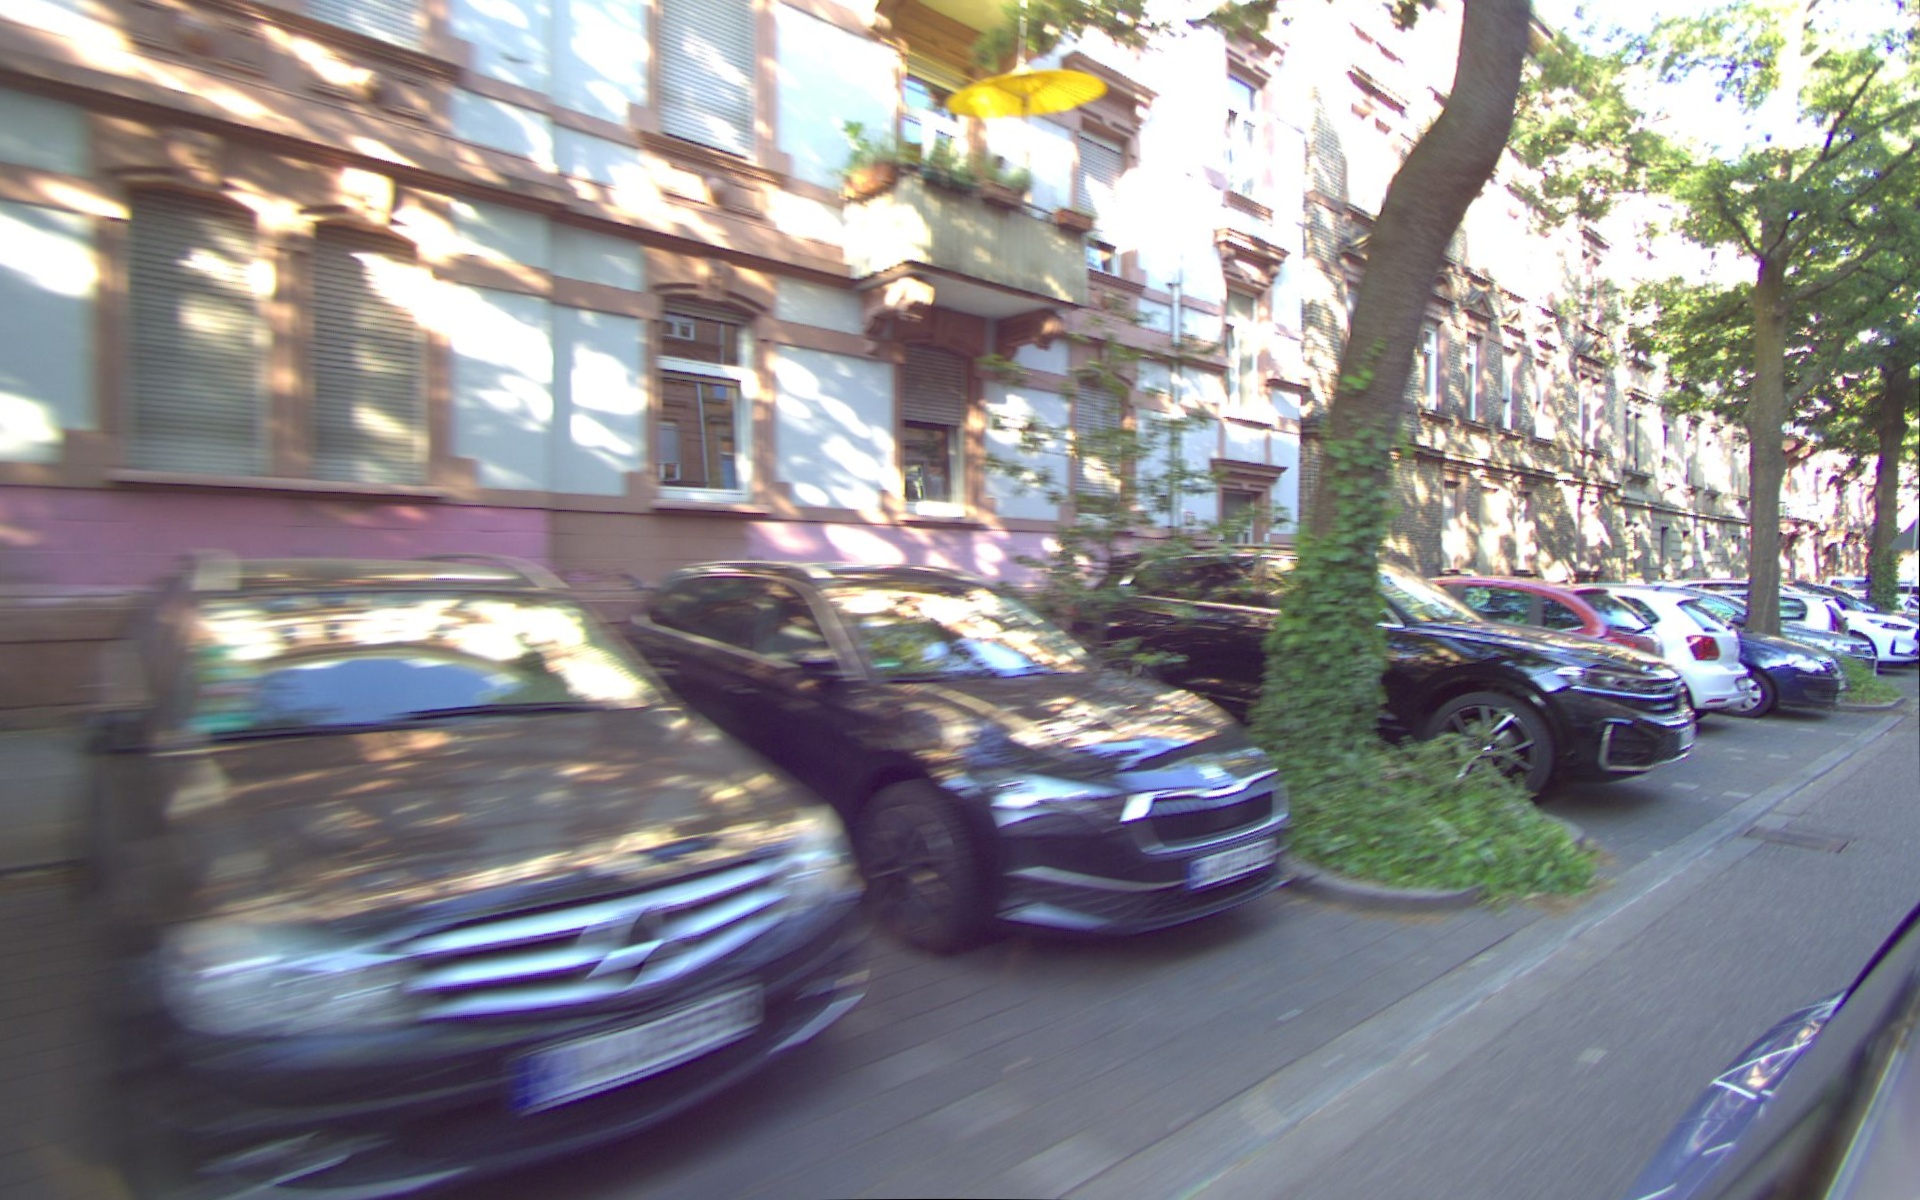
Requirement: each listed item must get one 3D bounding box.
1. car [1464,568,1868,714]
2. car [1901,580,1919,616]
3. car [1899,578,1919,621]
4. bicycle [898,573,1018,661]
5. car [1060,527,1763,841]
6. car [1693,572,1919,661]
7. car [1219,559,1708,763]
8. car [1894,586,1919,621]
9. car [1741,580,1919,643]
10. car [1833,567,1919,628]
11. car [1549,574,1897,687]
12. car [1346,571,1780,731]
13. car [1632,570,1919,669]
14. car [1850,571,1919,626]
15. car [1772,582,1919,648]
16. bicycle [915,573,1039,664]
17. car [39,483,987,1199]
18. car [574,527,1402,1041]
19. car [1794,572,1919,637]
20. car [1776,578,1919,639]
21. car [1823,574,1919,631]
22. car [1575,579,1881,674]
[{"bbox_3d":[9.004,0.396,13.192,1.649,1.404,3.996,0,4,-41],"label":"car"},{"bbox_3d":[45.424,0.060,45.600,1.709,1.607,4.240,0,5,-42],"label":"car"},{"bbox_3d":[44.402,-0.012,44.612,1.750,1.910,4.241,0,1,-39],"label":"car"},{"bbox_3d":[0.001,0.197,12.925,1.673,1.064,0.325,0,1,-38],"label":"bicycle"},{"bbox_3d":[3.174,0.341,7.939,1.851,1.723,4.650,0,3,-44],"label":"car"},{"bbox_3d":[18.318,0.275,21.201,1.858,1.676,4.487,-2,3,-39],"label":"car"},{"bbox_3d":[4.810,0.421,10.077,1.753,1.610,3.991,0,2,-44],"label":"car"},{"bbox_3d":[40.358,0.254,40.248,1.868,1.384,4.470,0,3,-39],"label":"car"},{"bbox_3d":[23.177,0.264,26.605,1.659,1.513,3.991,0,2,-43],"label":"car"},{"bbox_3d":[33.045,-0.026,34.353,2.140,1.924,4.926,0,4,-44],"label":"car"},{"bbox_3d":[12.071,0.379,16.232,1.771,1.555,4.227,0,1,-43],"label":"car"},{"bbox_3d":[6.785,0.441,11.692,1.753,1.480,3.991,0,2,-44],"label":"car"},{"bbox_3d":[15.835,0.273,19.533,1.859,1.676,4.483,-2,3,-42],"label":"car"},{"bbox_3d":[35.616,0.005,36.677,4.636,1.913,1.889,3,2,28],"label":"car"},{"bbox_3d":[22.059,0.342,24.087,1.657,1.474,3.996,0,1,-40],"label":"car"},{"bbox_3d":[0.234,0.210,12.604,1.673,1.064,0.366,0,1,-38],"label":"bicycle"},{"bbox_3d":[-2.206,0.512,3.874,1.900,1.521,4.664,0,2,-43],"label":"car"},{"bbox_3d":[-0.324,0.484,5.446,1.964,1.548,4.563,0,2,-39],"label":"car"},{"bbox_3d":[27.207,0.115,29.534,1.910,1.810,4.135,0,1,-39],"label":"car"},{"bbox_3d":[25.324,0.239,27.861,1.903,1.473,4.153,0,3,-41],"label":"car"},{"bbox_3d":[30.867,0.146,32.203,2.044,1.652,4.926,0,4,-44],"label":"car"},{"bbox_3d":[13.741,0.383,18.314,1.769,1.488,4.110,0,1,-39],"label":"car"}]
